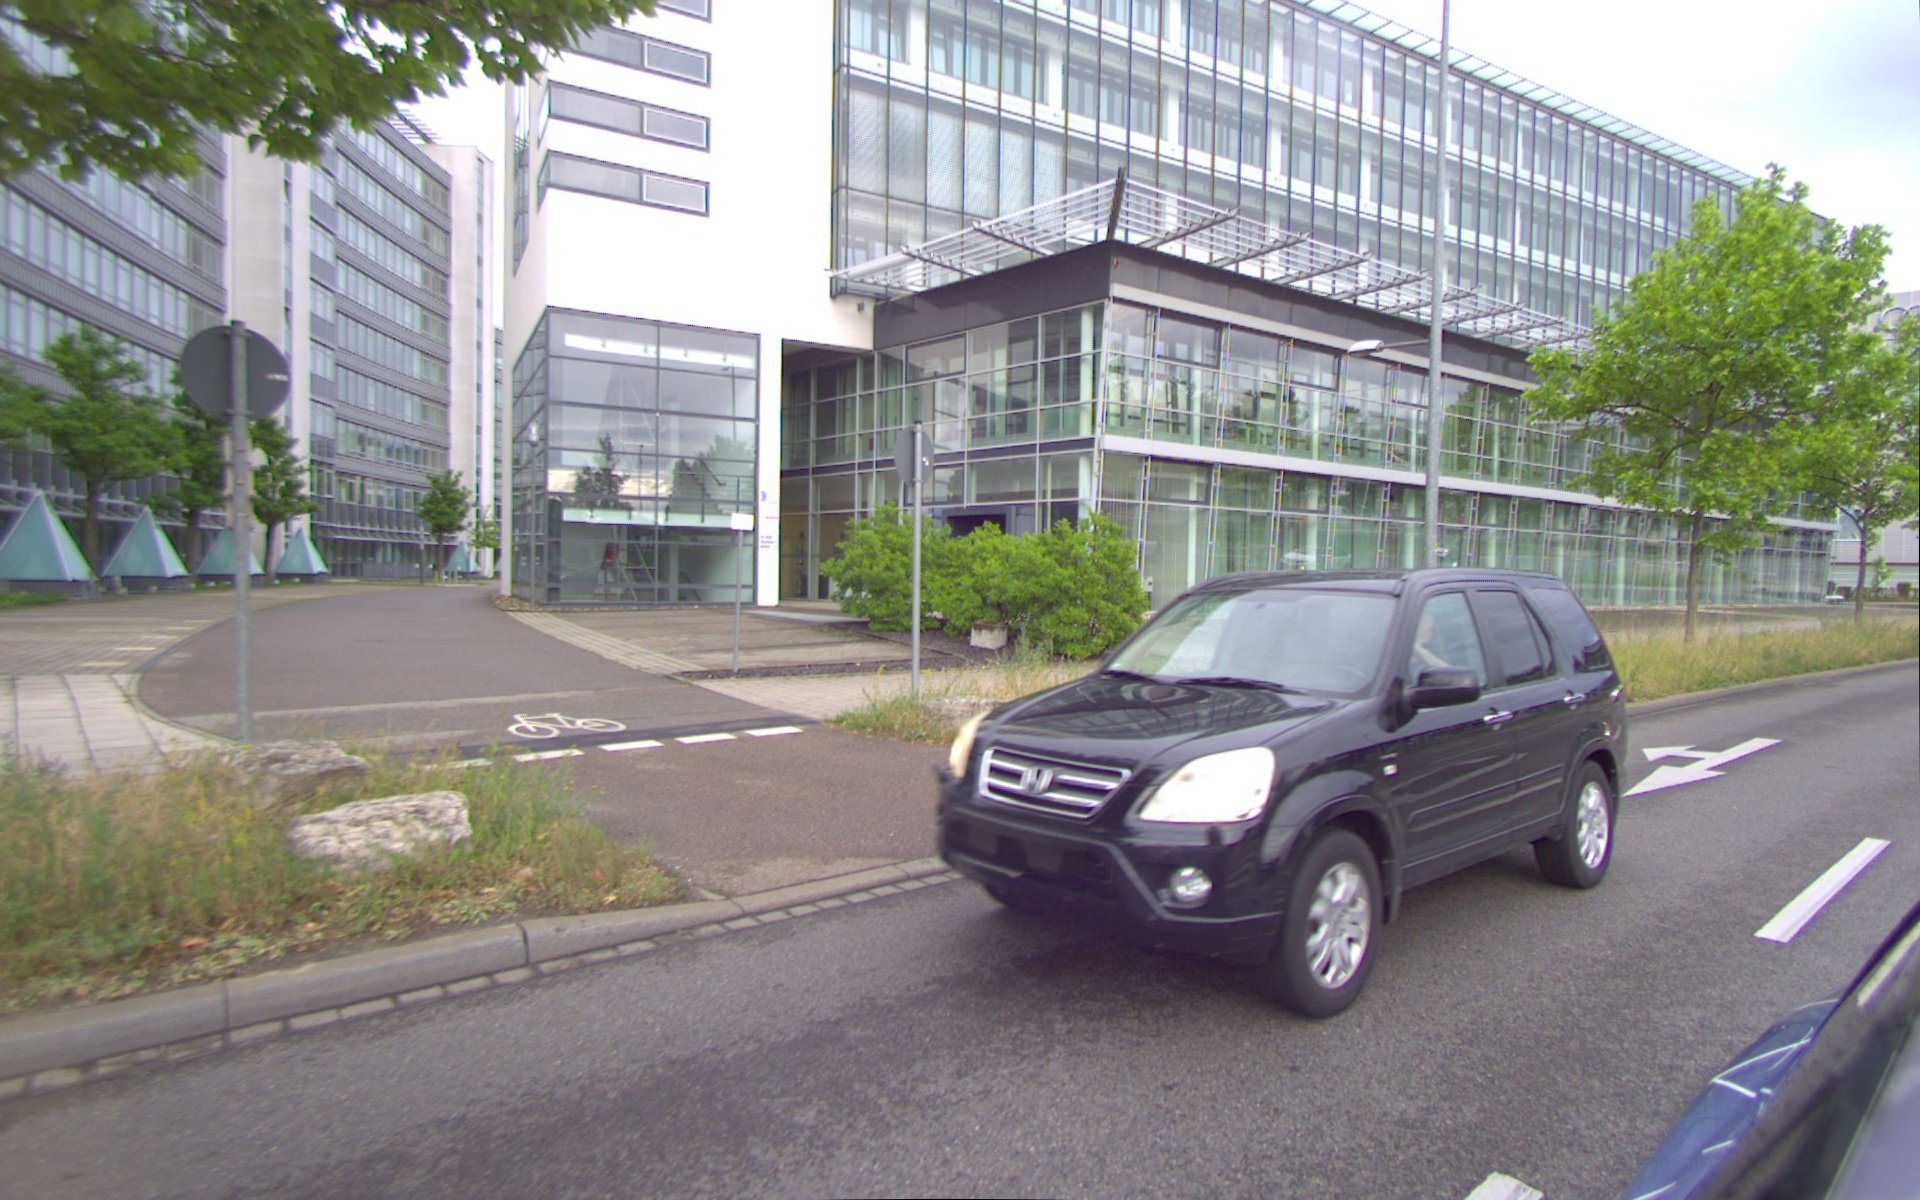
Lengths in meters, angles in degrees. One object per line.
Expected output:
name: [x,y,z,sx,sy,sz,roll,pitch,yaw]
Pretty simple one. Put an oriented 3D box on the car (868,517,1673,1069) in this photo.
car: [1.806,0.554,5.062,4.247,1.650,1.769,-1,0,-39]
